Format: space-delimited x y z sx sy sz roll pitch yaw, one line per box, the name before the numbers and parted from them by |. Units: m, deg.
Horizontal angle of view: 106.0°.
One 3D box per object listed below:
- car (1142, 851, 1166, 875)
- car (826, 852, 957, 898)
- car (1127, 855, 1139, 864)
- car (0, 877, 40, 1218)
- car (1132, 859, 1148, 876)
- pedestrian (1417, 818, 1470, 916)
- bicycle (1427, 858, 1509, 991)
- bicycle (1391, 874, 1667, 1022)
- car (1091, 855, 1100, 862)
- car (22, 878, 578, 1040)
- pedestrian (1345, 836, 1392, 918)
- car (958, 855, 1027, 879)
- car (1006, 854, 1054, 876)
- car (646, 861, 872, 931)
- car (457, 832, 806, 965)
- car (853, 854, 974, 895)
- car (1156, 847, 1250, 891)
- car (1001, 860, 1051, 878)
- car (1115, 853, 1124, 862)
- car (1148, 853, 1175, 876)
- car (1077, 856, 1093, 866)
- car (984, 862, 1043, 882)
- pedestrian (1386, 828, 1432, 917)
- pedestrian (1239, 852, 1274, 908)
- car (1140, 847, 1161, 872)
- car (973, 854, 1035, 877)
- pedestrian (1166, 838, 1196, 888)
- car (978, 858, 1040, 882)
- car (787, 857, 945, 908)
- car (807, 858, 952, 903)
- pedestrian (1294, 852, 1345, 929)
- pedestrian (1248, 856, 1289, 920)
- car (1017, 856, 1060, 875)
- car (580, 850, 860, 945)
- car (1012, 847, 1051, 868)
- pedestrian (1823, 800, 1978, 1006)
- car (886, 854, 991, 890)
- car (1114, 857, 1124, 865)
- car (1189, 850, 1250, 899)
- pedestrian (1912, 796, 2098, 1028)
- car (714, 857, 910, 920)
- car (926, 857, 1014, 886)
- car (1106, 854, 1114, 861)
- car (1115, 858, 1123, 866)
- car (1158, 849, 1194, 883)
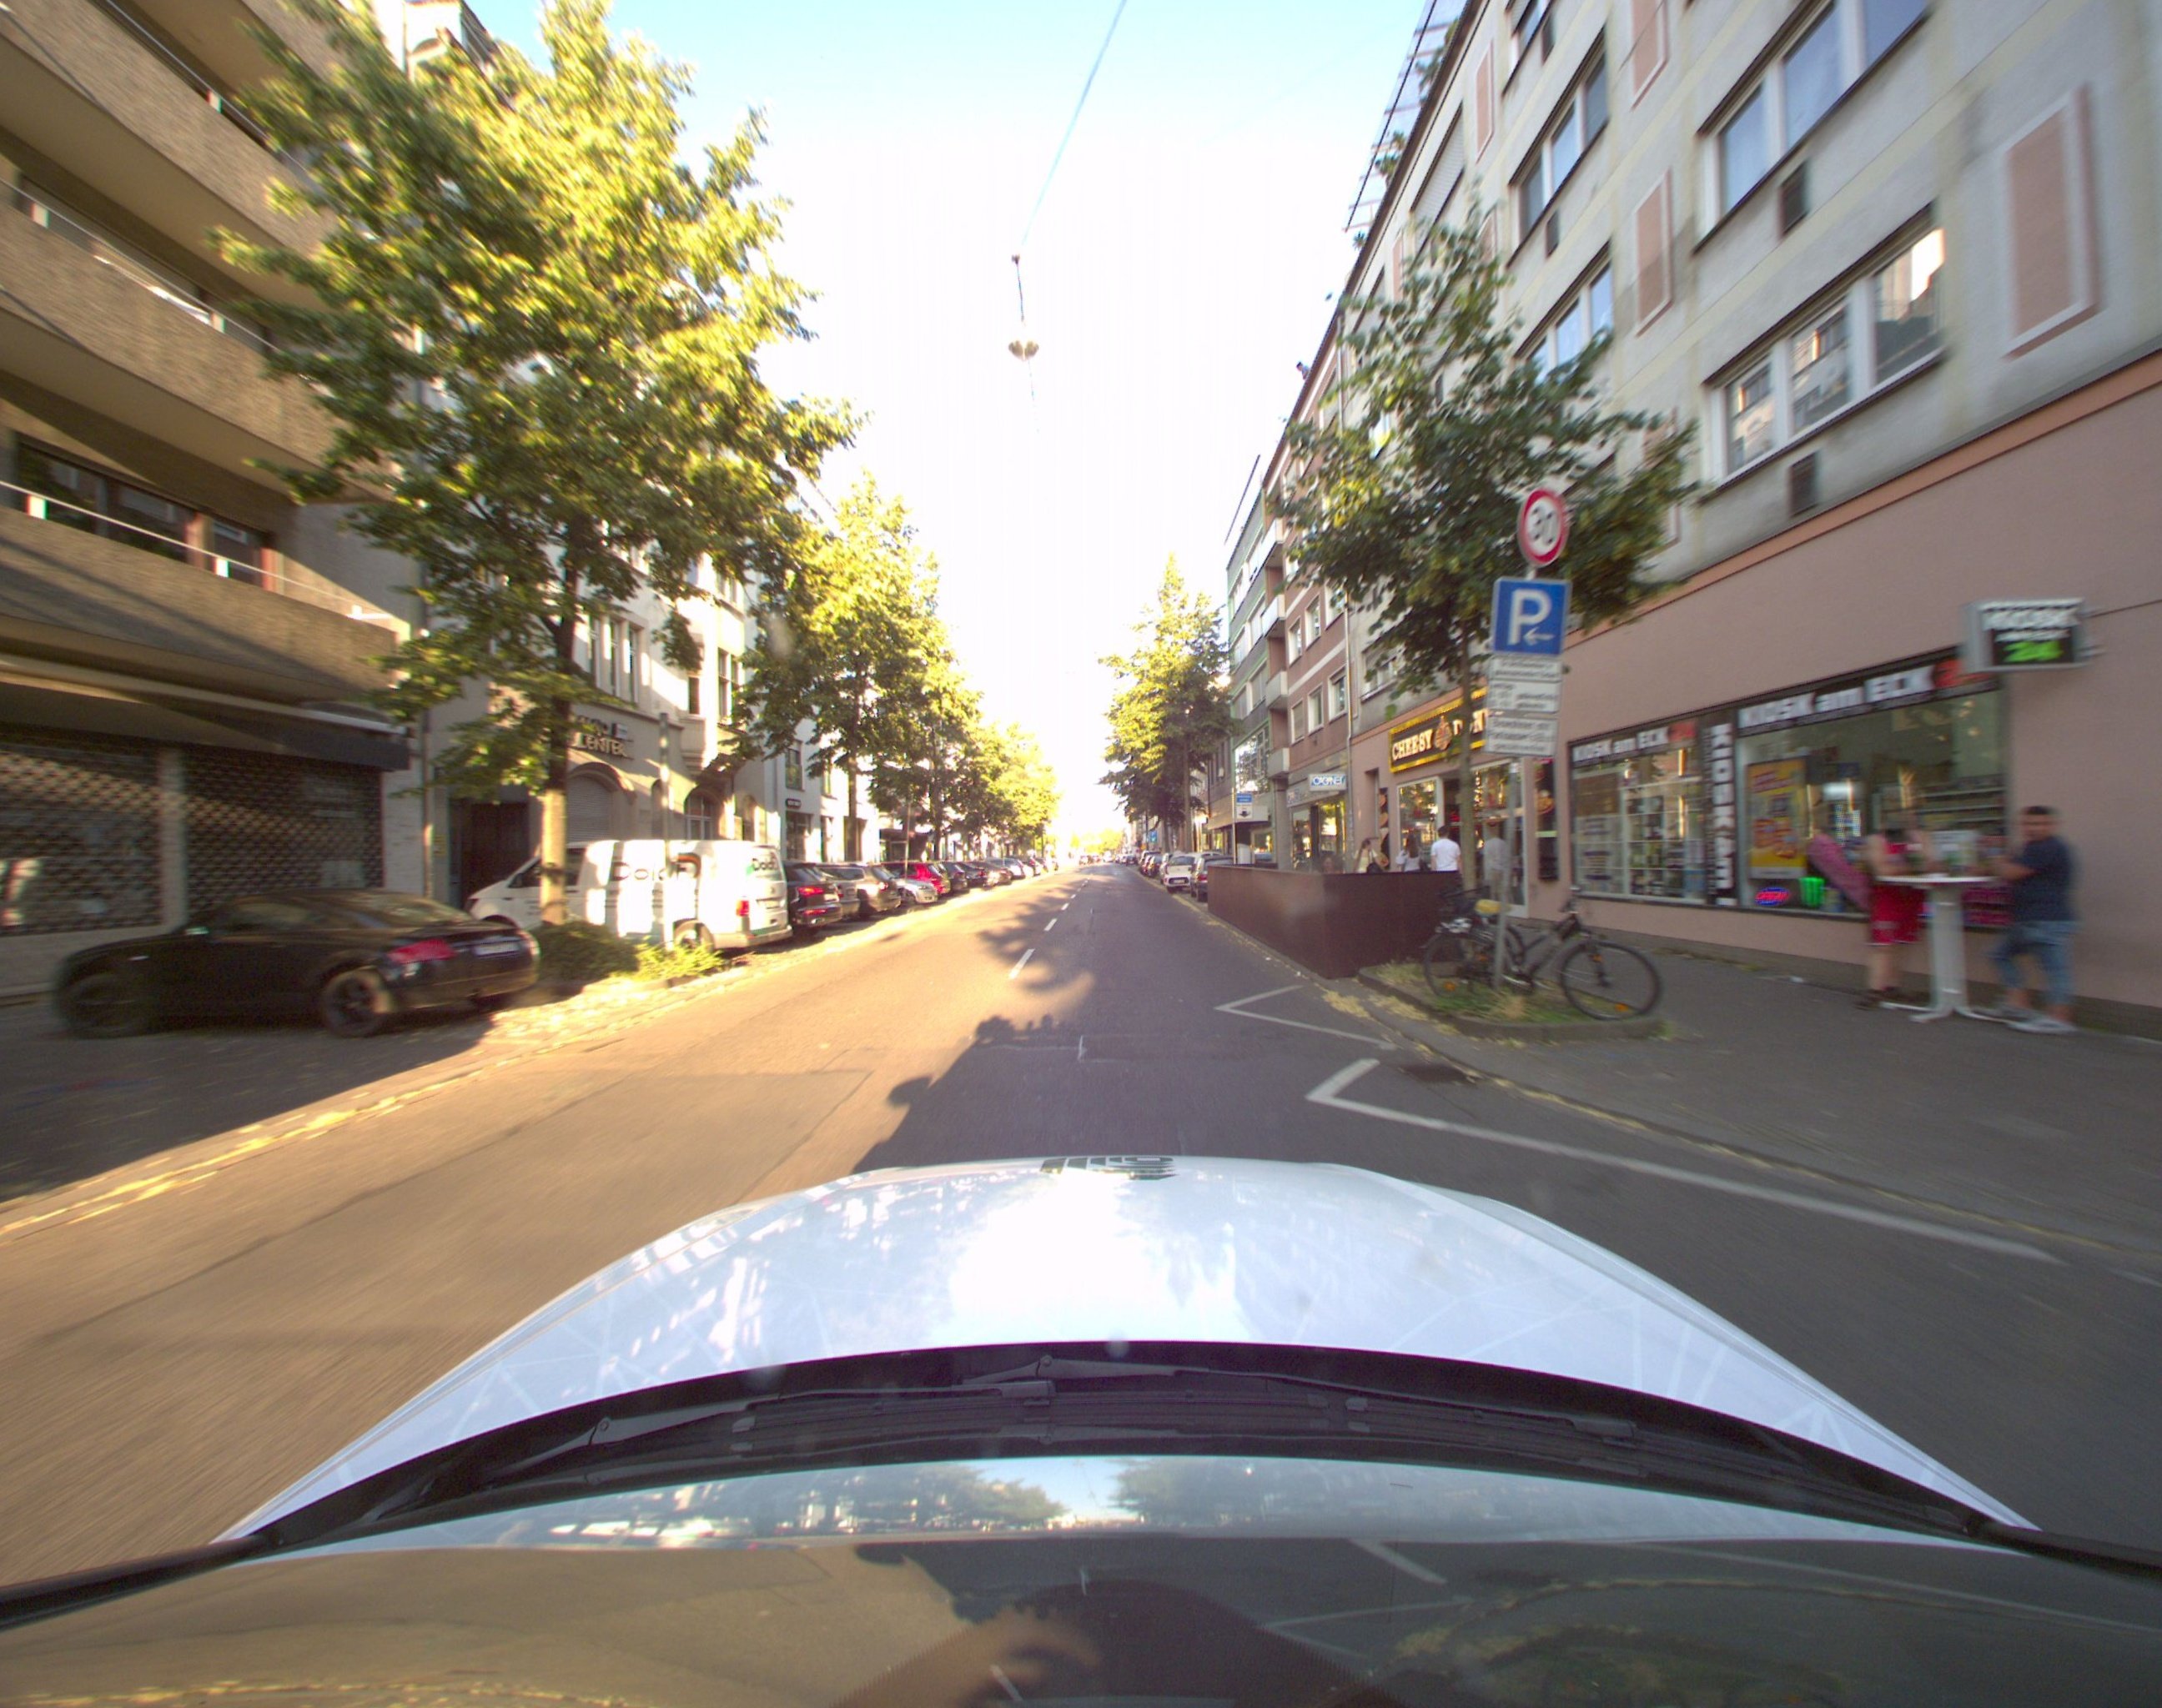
car | 5.114 0.617 56.979 1.507 1.561 3.516 -1 -1 3
car | -7.072 0.777 30.689 4.425 1.638 1.860 -1 -1 2
car | 7.093 0.735 111.102 1.507 1.276 3.306 -1 -1 3
car | -7.182 0.900 2.924 4.531 1.541 1.811 -1 -1 0
car | 5.868 1.337 81.740 1.507 1.561 3.775 -1 -1 3
pedestrian | 6.917 0.251 15.560 0.693 1.805 0.894 -1 0 10
bicycle | 3.908 0.649 8.328 0.593 1.178 1.856 -1 0 21
bicycle | 3.719 0.721 6.870 1.935 1.074 0.710 -1 0 33
car | 3.116 0.935 171.583 1.745 1.540 3.306 -2 -1 3
car | -7.650 0.971 8.298 3.773 1.392 2.046 -1 -1 4
pedestrian | 5.874 0.457 16.677 0.791 1.625 0.915 -1 0 14
car | -5.953 0.870 55.083 4.425 1.523 1.920 -1 -1 2
car | -4.921 1.026 78.547 4.425 2.015 1.920 -1 -1 2
car | -7.240 0.920 18.605 4.425 1.467 1.780 -1 -1 2
car | -7.131 0.682 13.295 4.555 1.962 1.991 -1 -1 1
car | -6.707 0.802 32.999 4.425 1.568 1.920 -1 -1 2
car | 4.787 0.533 31.555 1.654 1.588 3.846 -1 0 44
car | -5.061 1.359 75.721 4.425 1.578 1.920 -1 -1 2
car | 7.775 0.711 163.150 1.745 1.540 3.306 -2 -1 3
car | 5.114 0.677 51.885 1.507 1.406 3.839 -1 0 3
car | 0.681 1.156 135.301 1.913 1.571 3.317 -1 -1 16
car | -5.340 1.382 64.628 4.425 1.499 1.920 -1 -1 2
pedestrian | 6.402 0.350 15.918 0.627 1.680 0.894 -1 0 10
pedestrian | 4.438 0.651 20.622 0.723 1.378 0.781 -1 0 2
car | 5.415 0.412 63.887 1.507 1.864 4.238 -1 -1 3
car | -5.572 0.826 59.414 4.287 1.598 1.920 -1 -1 2
pedestrian | 3.915 0.366 31.967 0.916 1.926 1.014 0 0 -8
car | -5.423 1.188 61.510 4.425 1.759 1.920 -1 -1 2
car | -6.689 0.868 25.615 4.425 1.484 1.810 -1 -1 2
car | -6.833 0.882 27.925 4.425 1.458 1.860 -1 -1 2
pedestrian | 4.400 0.659 15.066 0.723 1.378 0.781 -1 0 2
pedestrian | 4.182 0.738 18.221 0.723 1.378 0.781 -1 0 2
car | -4.609 1.253 88.735 4.425 1.959 1.920 -1 -1 2
car | -6.922 0.809 15.988 4.554 1.698 2.061 -1 -1 2
car | -6.008 0.406 99.002 4.425 2.435 1.920 -1 -1 2
pedestrian | 6.753 0.381 6.738 0.565 1.599 0.664 -3 1 2
car | -6.526 0.813 37.626 4.425 1.568 1.920 -1 -1 2
car | 6.056 1.147 129.323 1.507 1.263 3.306 -1 -1 3
car | 4.401 0.625 26.322 1.536 1.433 3.681 -1 0 3
pedestrian | 6.740 0.397 5.973 0.565 1.584 0.664 -3 1 2
car | -6.860 0.871 21.069 4.425 1.506 1.845 -1 -1 2
car | -5.957 0.931 44.139 4.425 1.449 1.920 -1 -1 2
car | 6.253 0.701 177.388 1.714 1.475 3.306 -2 -1 3
car | 7.115 1.500 152.107 1.507 1.298 3.306 -1 -1 3
car | 4.598 0.562 39.660 1.507 1.578 3.220 -1 -1 3
